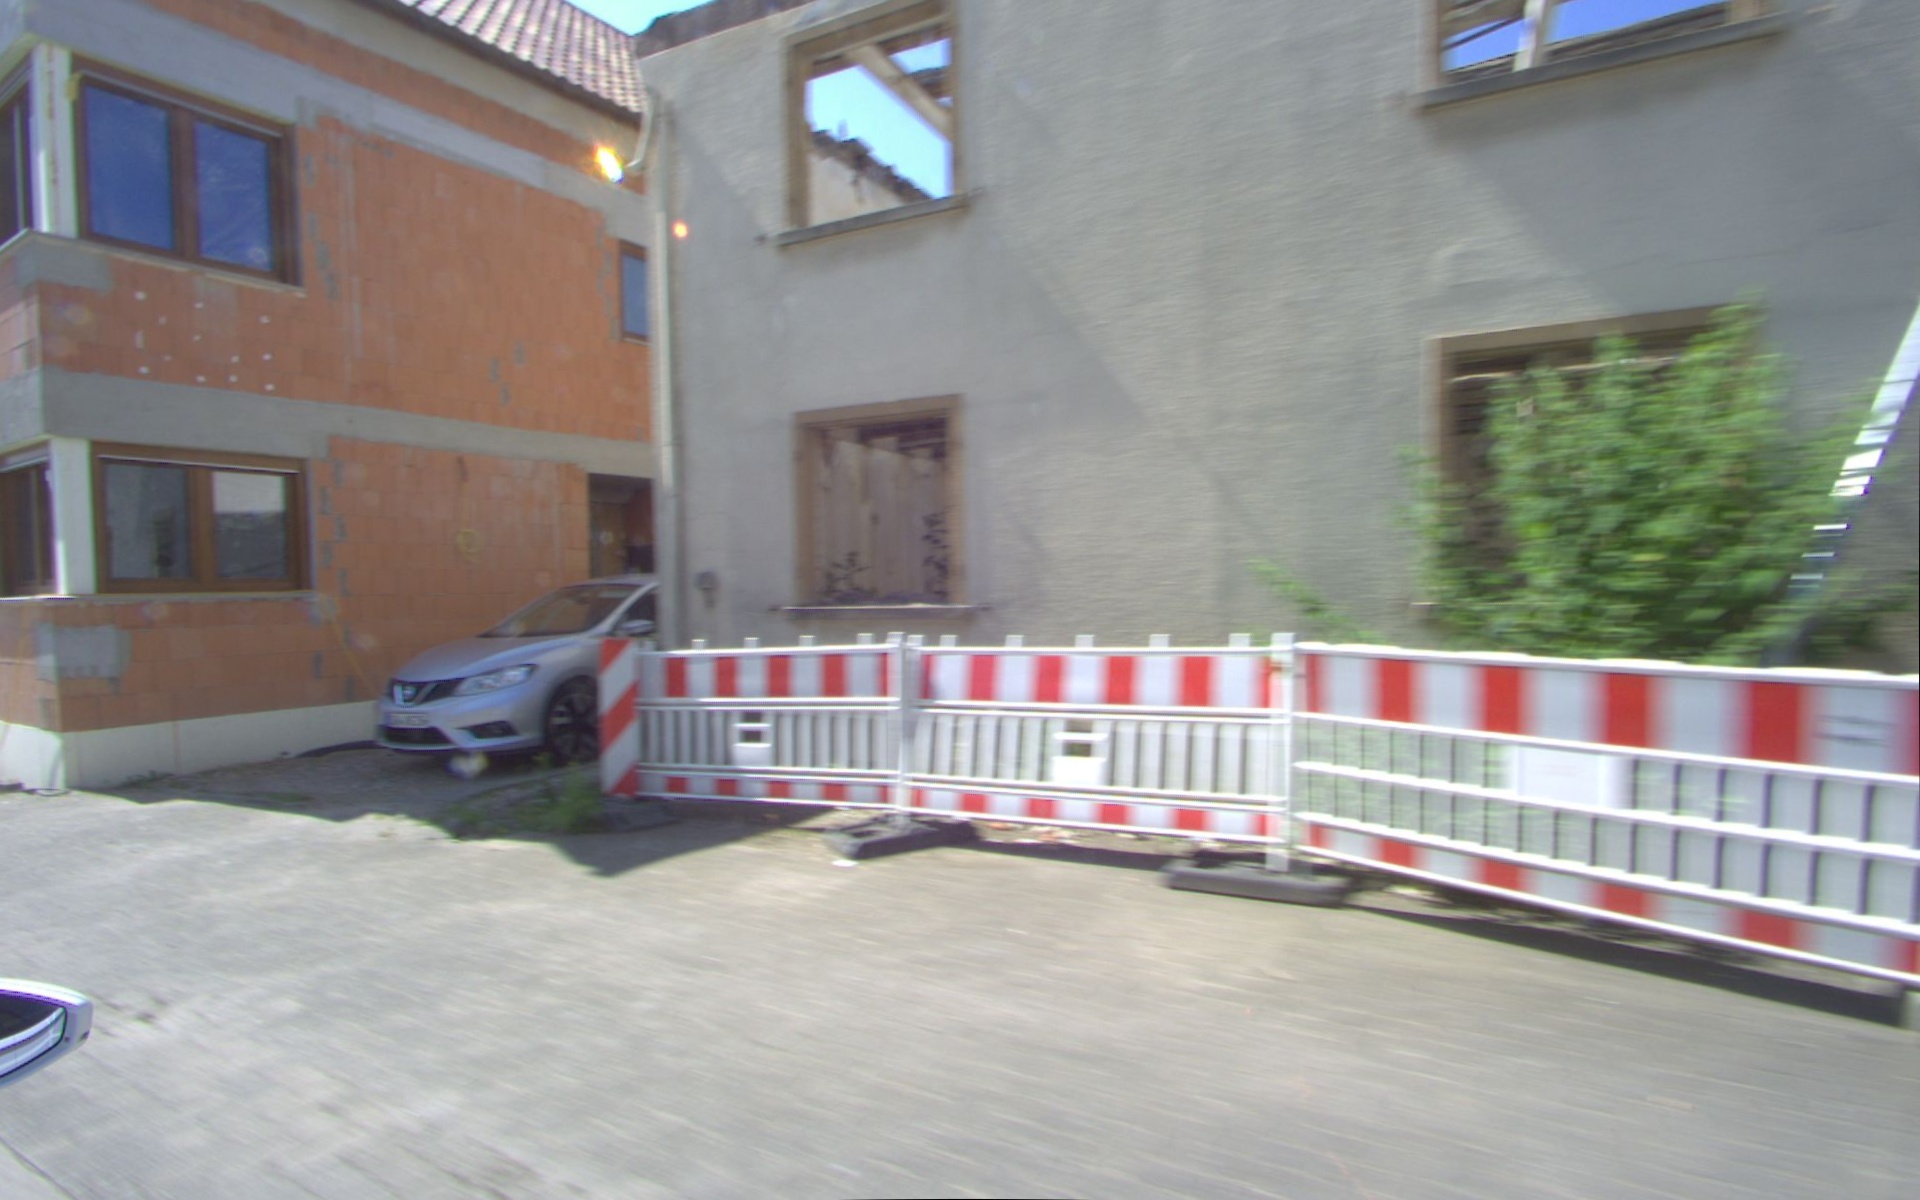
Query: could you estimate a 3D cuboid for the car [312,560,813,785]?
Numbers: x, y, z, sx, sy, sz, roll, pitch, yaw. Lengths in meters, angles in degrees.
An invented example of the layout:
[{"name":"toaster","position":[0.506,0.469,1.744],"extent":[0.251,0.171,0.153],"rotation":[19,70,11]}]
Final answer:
[{"name":"car","position":[-3.322,0.455,9.283],"extent":[1.840,1.528,4.083],"rotation":[0,3,27]}]
